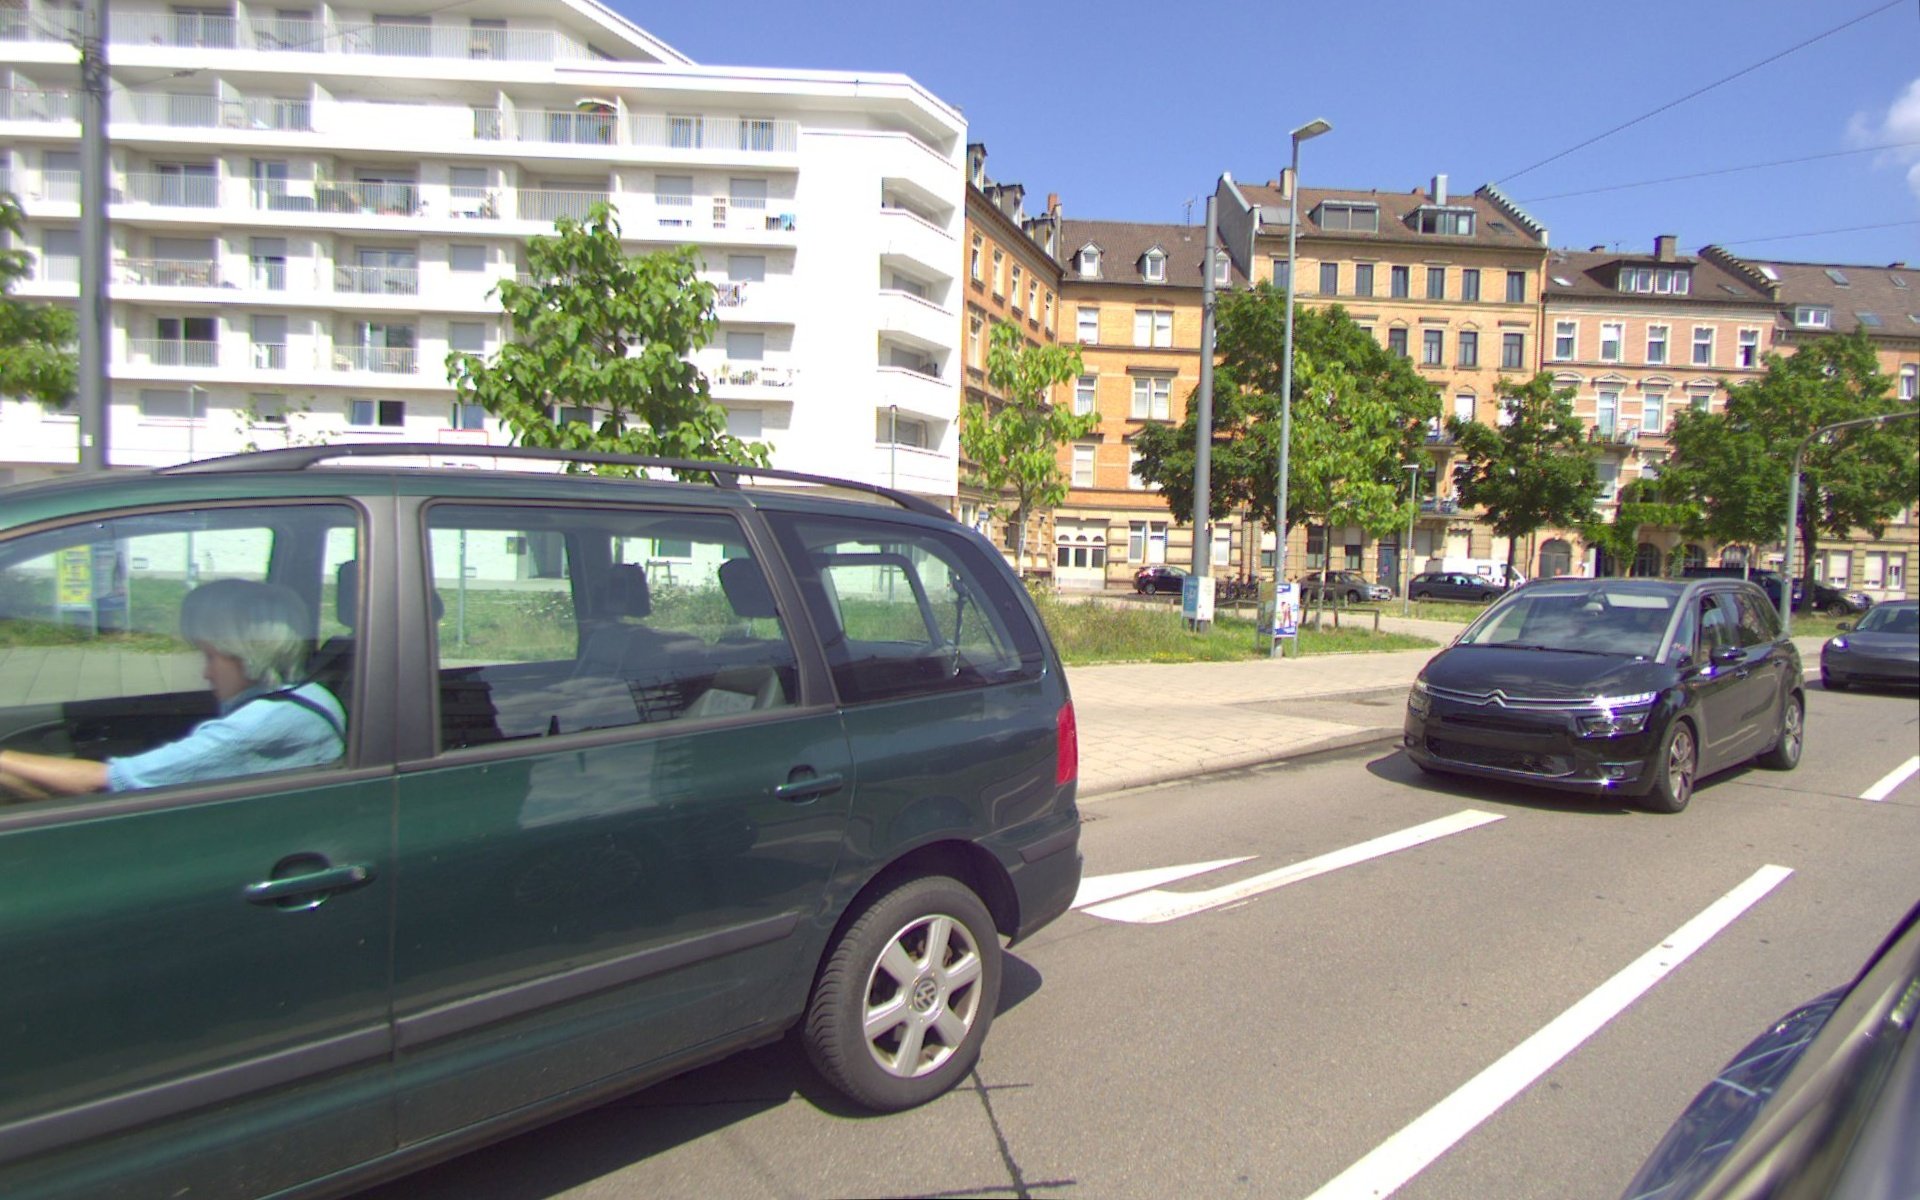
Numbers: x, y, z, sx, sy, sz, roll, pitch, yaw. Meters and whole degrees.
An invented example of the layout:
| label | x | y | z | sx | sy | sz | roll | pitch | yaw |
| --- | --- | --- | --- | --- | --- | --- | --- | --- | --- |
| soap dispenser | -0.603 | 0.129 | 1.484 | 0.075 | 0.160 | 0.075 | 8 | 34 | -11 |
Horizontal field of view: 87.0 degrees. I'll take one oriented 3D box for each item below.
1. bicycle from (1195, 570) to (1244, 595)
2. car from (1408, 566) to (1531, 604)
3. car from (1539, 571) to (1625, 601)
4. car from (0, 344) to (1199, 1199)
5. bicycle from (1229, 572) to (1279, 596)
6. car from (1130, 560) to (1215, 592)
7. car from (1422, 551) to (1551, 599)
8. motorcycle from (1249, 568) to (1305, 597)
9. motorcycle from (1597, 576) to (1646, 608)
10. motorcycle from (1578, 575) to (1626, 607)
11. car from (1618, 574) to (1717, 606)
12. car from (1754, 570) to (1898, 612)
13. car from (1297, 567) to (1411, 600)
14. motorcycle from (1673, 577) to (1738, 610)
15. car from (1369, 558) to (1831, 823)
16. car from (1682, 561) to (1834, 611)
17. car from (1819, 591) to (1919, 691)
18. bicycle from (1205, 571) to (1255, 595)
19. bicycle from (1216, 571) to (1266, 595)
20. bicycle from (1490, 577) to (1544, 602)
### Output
| label | x | y | z | sx | sy | sz | roll | pitch | yaw |
| --- | --- | --- | --- | --- | --- | --- | --- | --- | --- |
| bicycle | 10.543 | -0.713 | 41.245 | 0.532 | 0.981 | 2.396 | 1 | 1 | -25 |
| car | 21.114 | -0.645 | 42.097 | 1.769 | 1.445 | 4.265 | 0 | 2 | -31 |
| car | 31.249 | -0.710 | 50.938 | 3.288 | 1.420 | 1.569 | 1 | 2 | 1 |
| car | -1.613 | 0.481 | 2.608 | 4.944 | 1.778 | 1.822 | 0 | 1 | -41 |
| bicycle | 12.187 | -0.690 | 42.020 | 0.532 | 0.968 | 2.396 | 1 | 1 | -25 |
| car | 10.477 | -1.180 | 49.996 | 3.779 | 1.510 | 1.665 | 1 | 1 | -1 |
| car | 26.259 | -1.239 | 50.571 | 5.290 | 2.206 | 2.118 | 1 | 1 | -1 |
| motorcycle | 13.193 | -0.734 | 42.175 | 0.796 | 1.139 | 2.396 | 1 | 1 | -25 |
| motorcycle | 25.838 | -0.340 | 39.574 | 0.627 | 1.181 | 1.791 | 1 | 2 | -3 |
| motorcycle | 25.065 | -0.361 | 39.546 | 0.627 | 1.181 | 1.791 | 1 | 2 | -3 |
| car | 35.711 | -0.511 | 51.131 | 3.779 | 1.510 | 1.665 | 1 | 1 | -1 |
| car | 36.371 | -0.417 | 42.615 | 1.877 | 1.677 | 4.181 | 1 | 1 | -28 |
| car | 15.971 | -0.687 | 41.246 | 1.825 | 1.260 | 4.172 | 1 | 1 | -26 |
| motorcycle | 28.527 | -0.252 | 38.756 | 1.876 | 1.181 | 0.638 | 2 | 2 | 11 |
| car | 5.343 | 0.533 | 8.264 | 4.112 | 1.639 | 1.876 | 0 | 1 | -38 |
| car | 33.397 | -0.606 | 42.488 | 1.879 | 1.951 | 4.633 | 1 | 1 | -32 |
| car | 15.278 | 0.585 | 15.759 | 4.231 | 1.411 | 1.916 | 0 | 1 | -35 |
| bicycle | 11.045 | -0.708 | 41.494 | 0.532 | 0.981 | 2.396 | 1 | 1 | -25 |
| bicycle | 11.568 | -0.703 | 41.734 | 0.532 | 0.981 | 2.396 | 1 | 1 | -25 |
| bicycle | 21.292 | -0.392 | 38.714 | 1.784 | 0.912 | 0.544 | 1 | 0 | -5 |
